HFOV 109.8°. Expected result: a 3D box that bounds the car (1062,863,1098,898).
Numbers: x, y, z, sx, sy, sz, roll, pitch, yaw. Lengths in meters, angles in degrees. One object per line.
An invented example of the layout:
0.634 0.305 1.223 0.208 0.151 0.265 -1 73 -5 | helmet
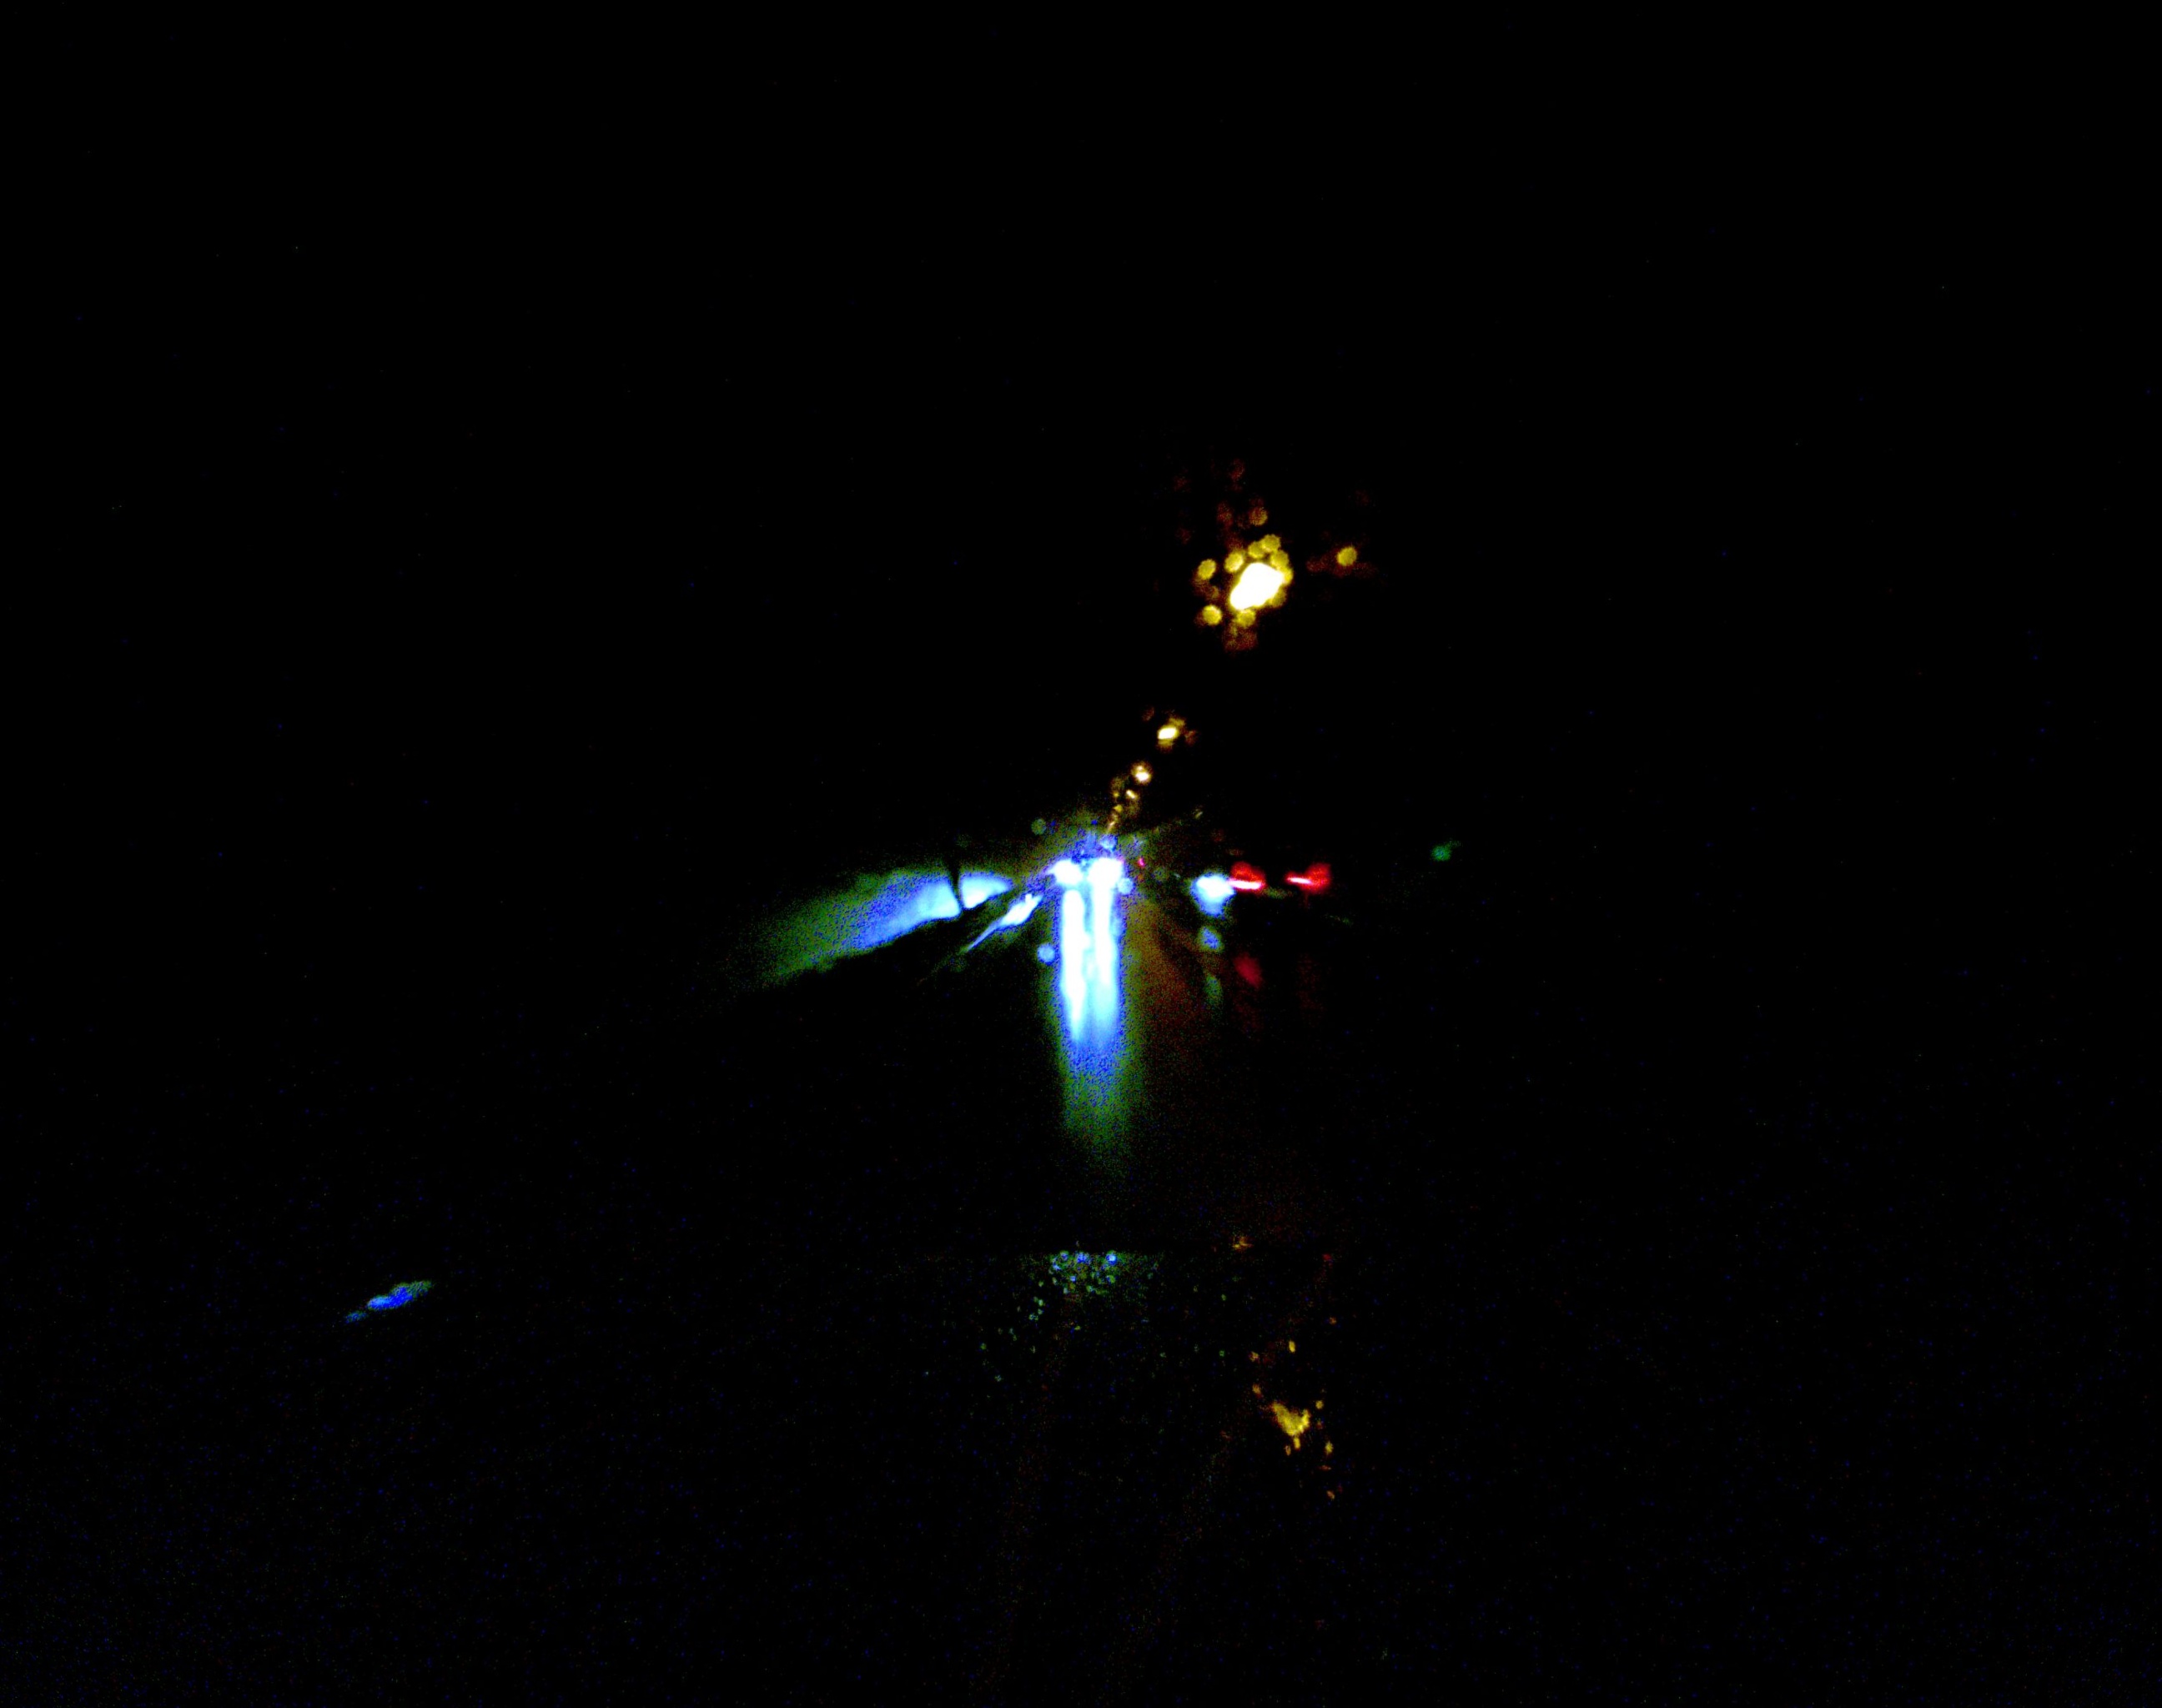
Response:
0.007 1.246 36.922 1.627 1.487 3.585 -2 0 1 | car

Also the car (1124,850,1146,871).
4.802 0.559 67.815 1.918 1.718 4.001 -2 0 3 | car

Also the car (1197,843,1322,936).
3.613 0.650 16.077 1.701 1.666 4.127 -2 0 1 | car

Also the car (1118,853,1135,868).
5.304 0.735 89.169 1.785 1.666 4.561 -2 0 0 | car

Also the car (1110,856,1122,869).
5.862 1.396 126.503 1.785 1.917 5.138 -2 0 1 | car
